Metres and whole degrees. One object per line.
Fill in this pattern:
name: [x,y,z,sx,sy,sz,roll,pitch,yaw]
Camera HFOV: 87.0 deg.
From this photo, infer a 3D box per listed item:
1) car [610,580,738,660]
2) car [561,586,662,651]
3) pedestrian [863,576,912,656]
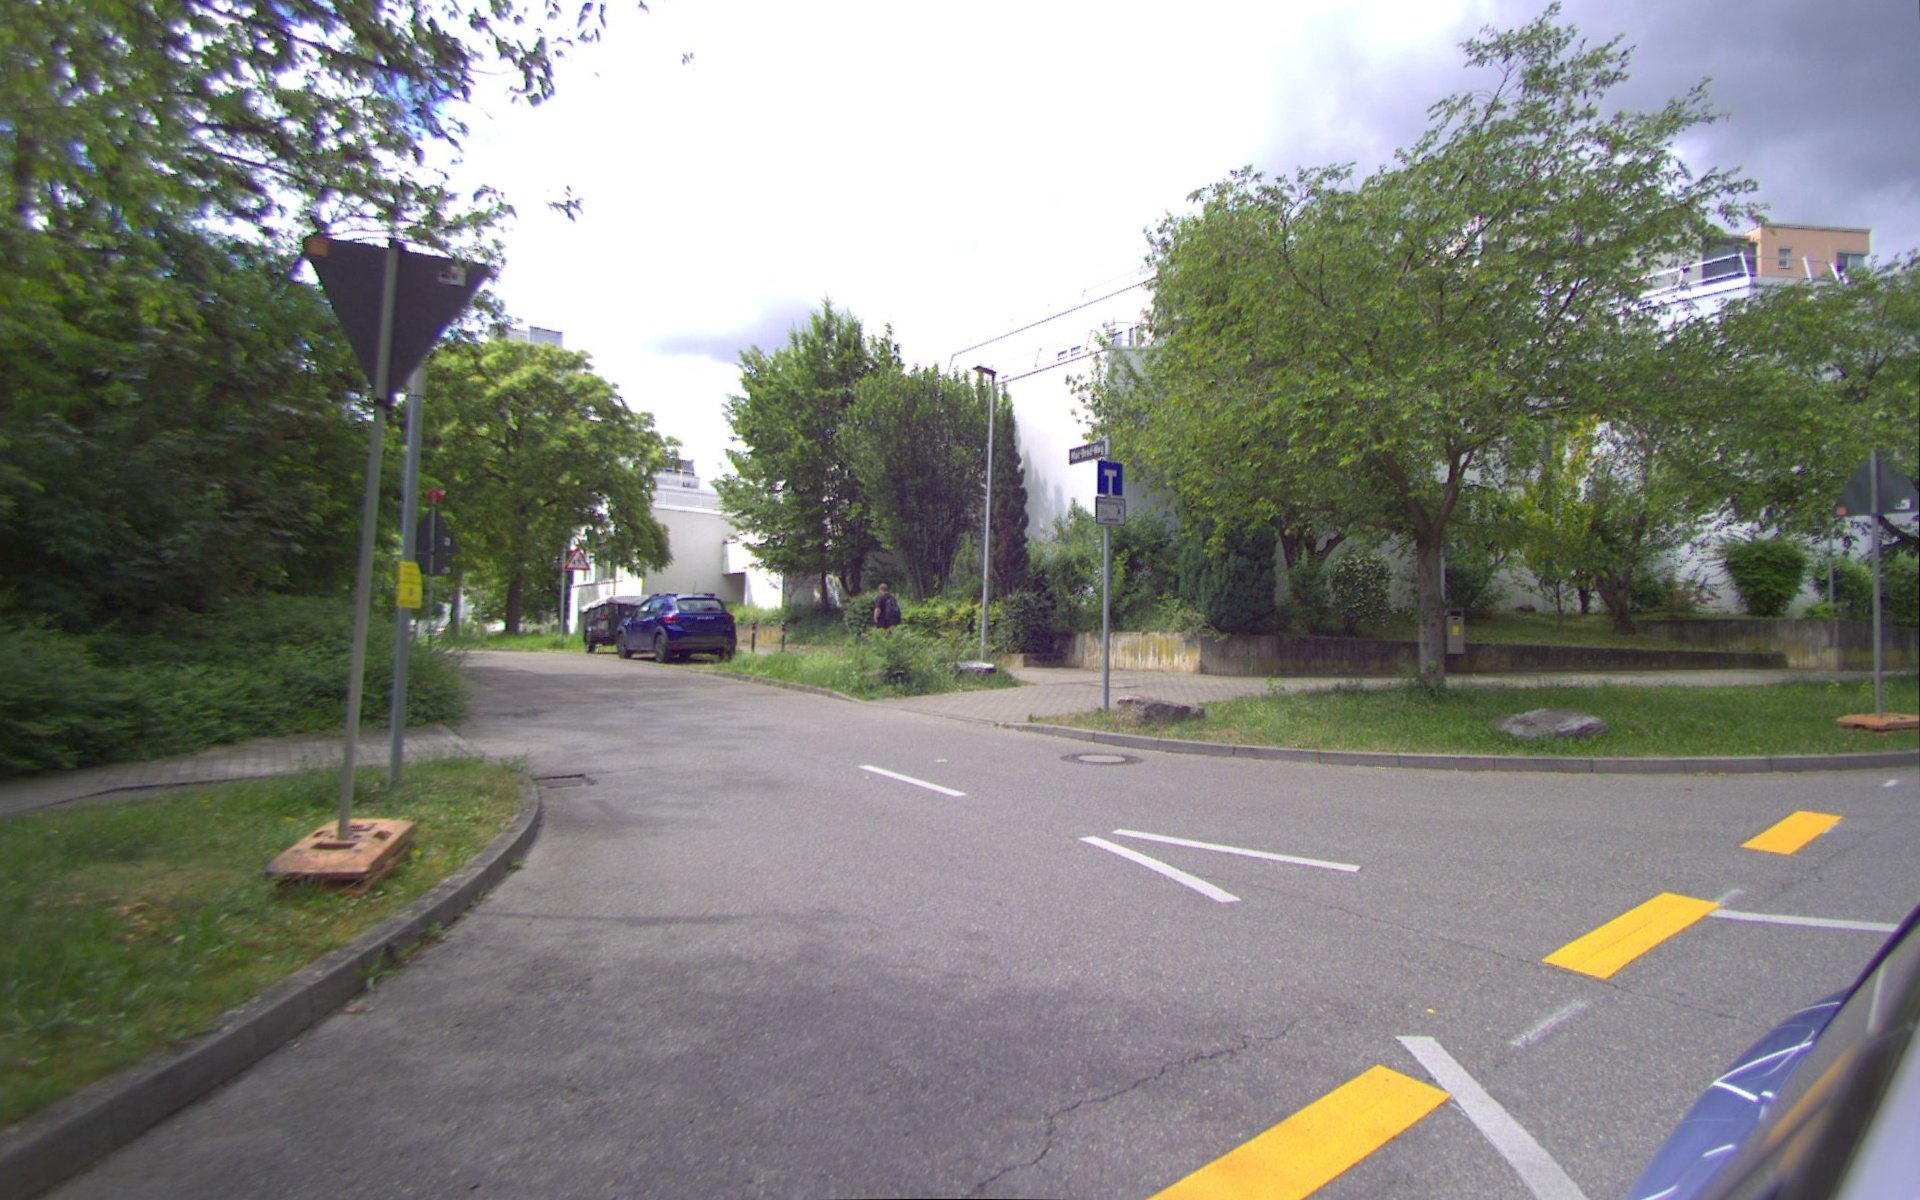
car: [-6.743,0.408,23.607,1.695,1.683,4.001,-1,0,-34]
car: [-9.857,0.463,28.451,1.695,1.683,4.001,-1,0,-34]
pedestrian: [-1.647,0.345,22.848,0.771,1.759,0.835,-1,0,-34]
